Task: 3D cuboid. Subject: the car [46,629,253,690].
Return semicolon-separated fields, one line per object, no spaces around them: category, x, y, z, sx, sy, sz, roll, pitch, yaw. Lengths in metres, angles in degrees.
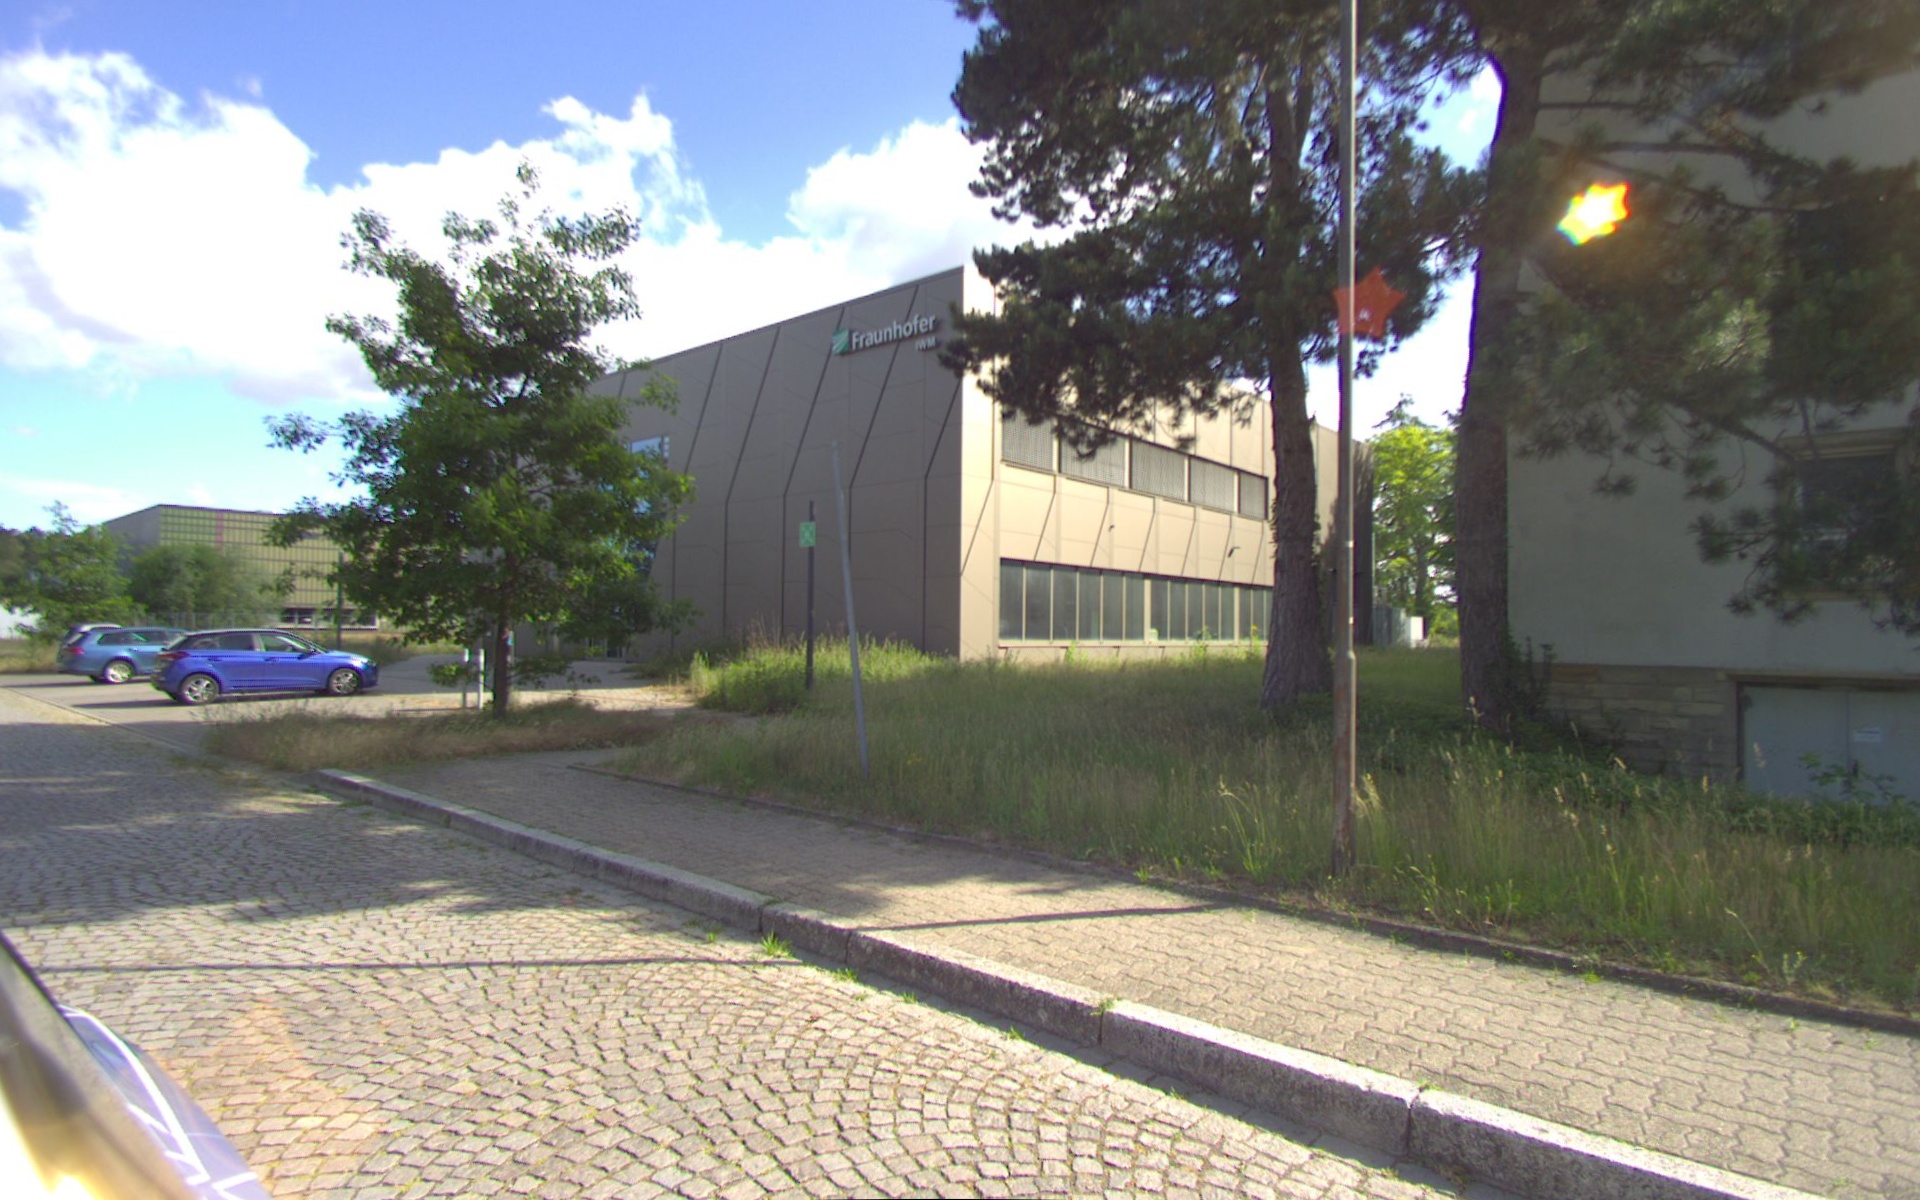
car;-21.995;1.567;27.598;1.732;1.485;4.128;-1;-1;38

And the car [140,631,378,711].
car;-14.747;1.414;21.427;1.735;1.479;3.866;-1;-2;43

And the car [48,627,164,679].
car;-27.407;1.656;32.525;1.480;1.580;2.619;-1;-2;39
